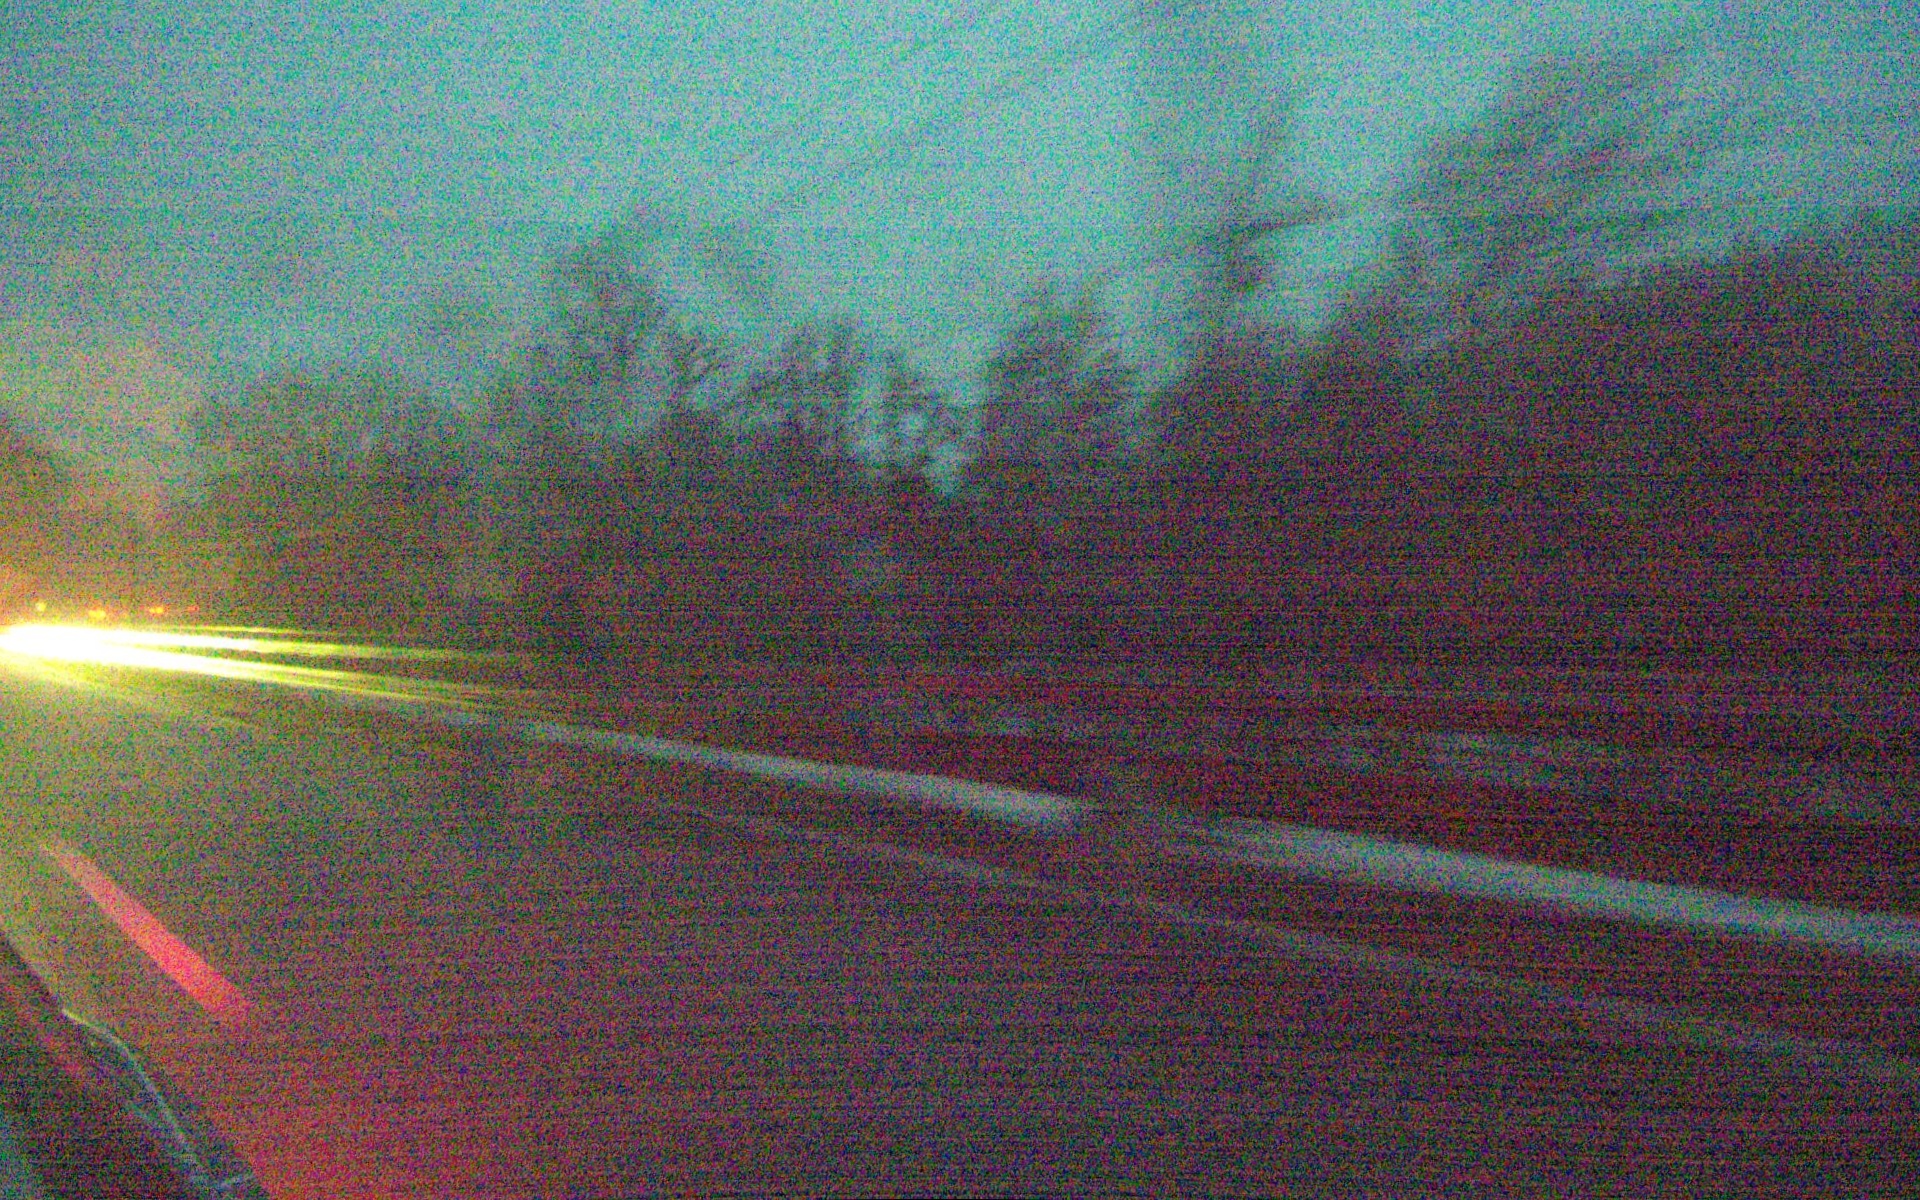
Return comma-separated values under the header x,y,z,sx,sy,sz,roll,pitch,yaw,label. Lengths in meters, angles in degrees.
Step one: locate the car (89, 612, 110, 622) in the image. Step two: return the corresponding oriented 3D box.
x,y,z,sx,sy,sz,roll,pitch,yaw,label
-160.533,3.176,188.826,1.965,1.940,4.013,0,0,-25,car
